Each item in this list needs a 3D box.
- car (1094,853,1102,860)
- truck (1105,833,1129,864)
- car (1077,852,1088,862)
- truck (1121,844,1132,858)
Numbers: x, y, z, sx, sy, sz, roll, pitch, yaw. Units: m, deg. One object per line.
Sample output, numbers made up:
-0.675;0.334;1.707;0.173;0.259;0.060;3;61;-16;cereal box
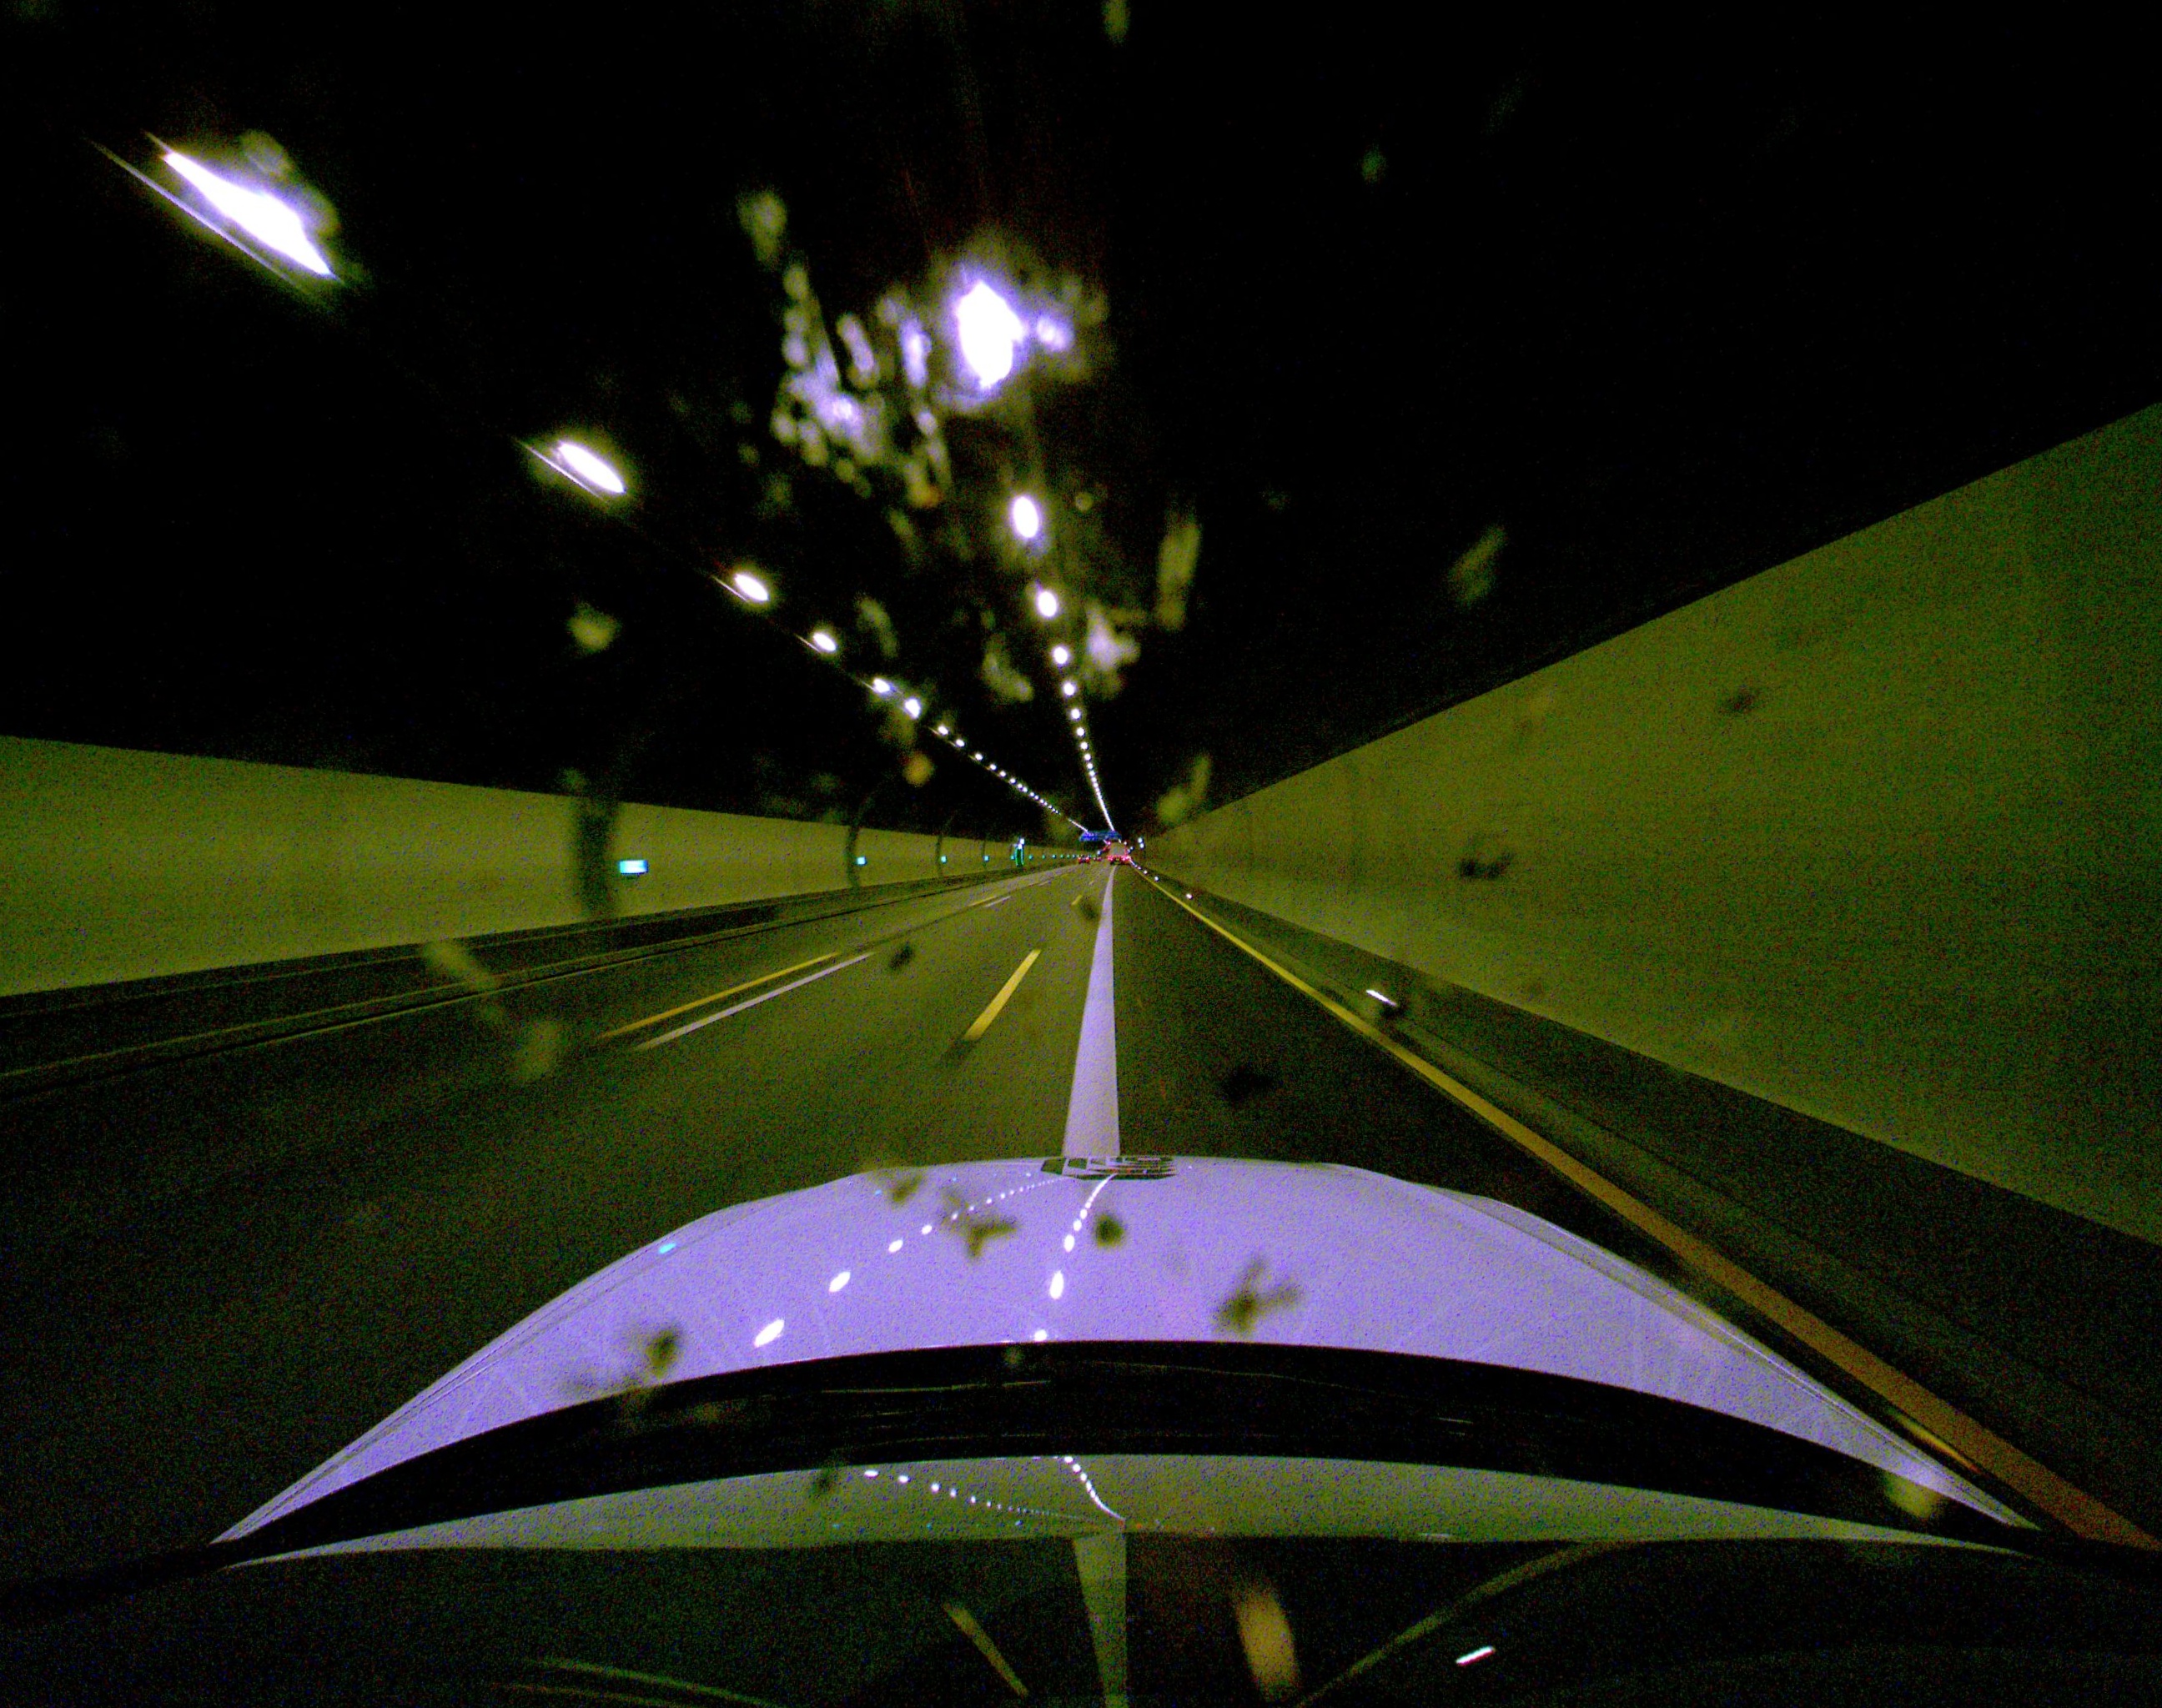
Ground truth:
3.986;0.601;194.419;1.807;1.520;3.999;-2;2;-1;car
5.766;-0.850;133.310;3.267;4.650;17.288;-3;0;1;truck
0.323;0.566;139.005;1.806;1.618;4.000;-2;0;0;car
13.914;-0.888;249.434;2.912;4.047;14.033;-3;0;1;truck
